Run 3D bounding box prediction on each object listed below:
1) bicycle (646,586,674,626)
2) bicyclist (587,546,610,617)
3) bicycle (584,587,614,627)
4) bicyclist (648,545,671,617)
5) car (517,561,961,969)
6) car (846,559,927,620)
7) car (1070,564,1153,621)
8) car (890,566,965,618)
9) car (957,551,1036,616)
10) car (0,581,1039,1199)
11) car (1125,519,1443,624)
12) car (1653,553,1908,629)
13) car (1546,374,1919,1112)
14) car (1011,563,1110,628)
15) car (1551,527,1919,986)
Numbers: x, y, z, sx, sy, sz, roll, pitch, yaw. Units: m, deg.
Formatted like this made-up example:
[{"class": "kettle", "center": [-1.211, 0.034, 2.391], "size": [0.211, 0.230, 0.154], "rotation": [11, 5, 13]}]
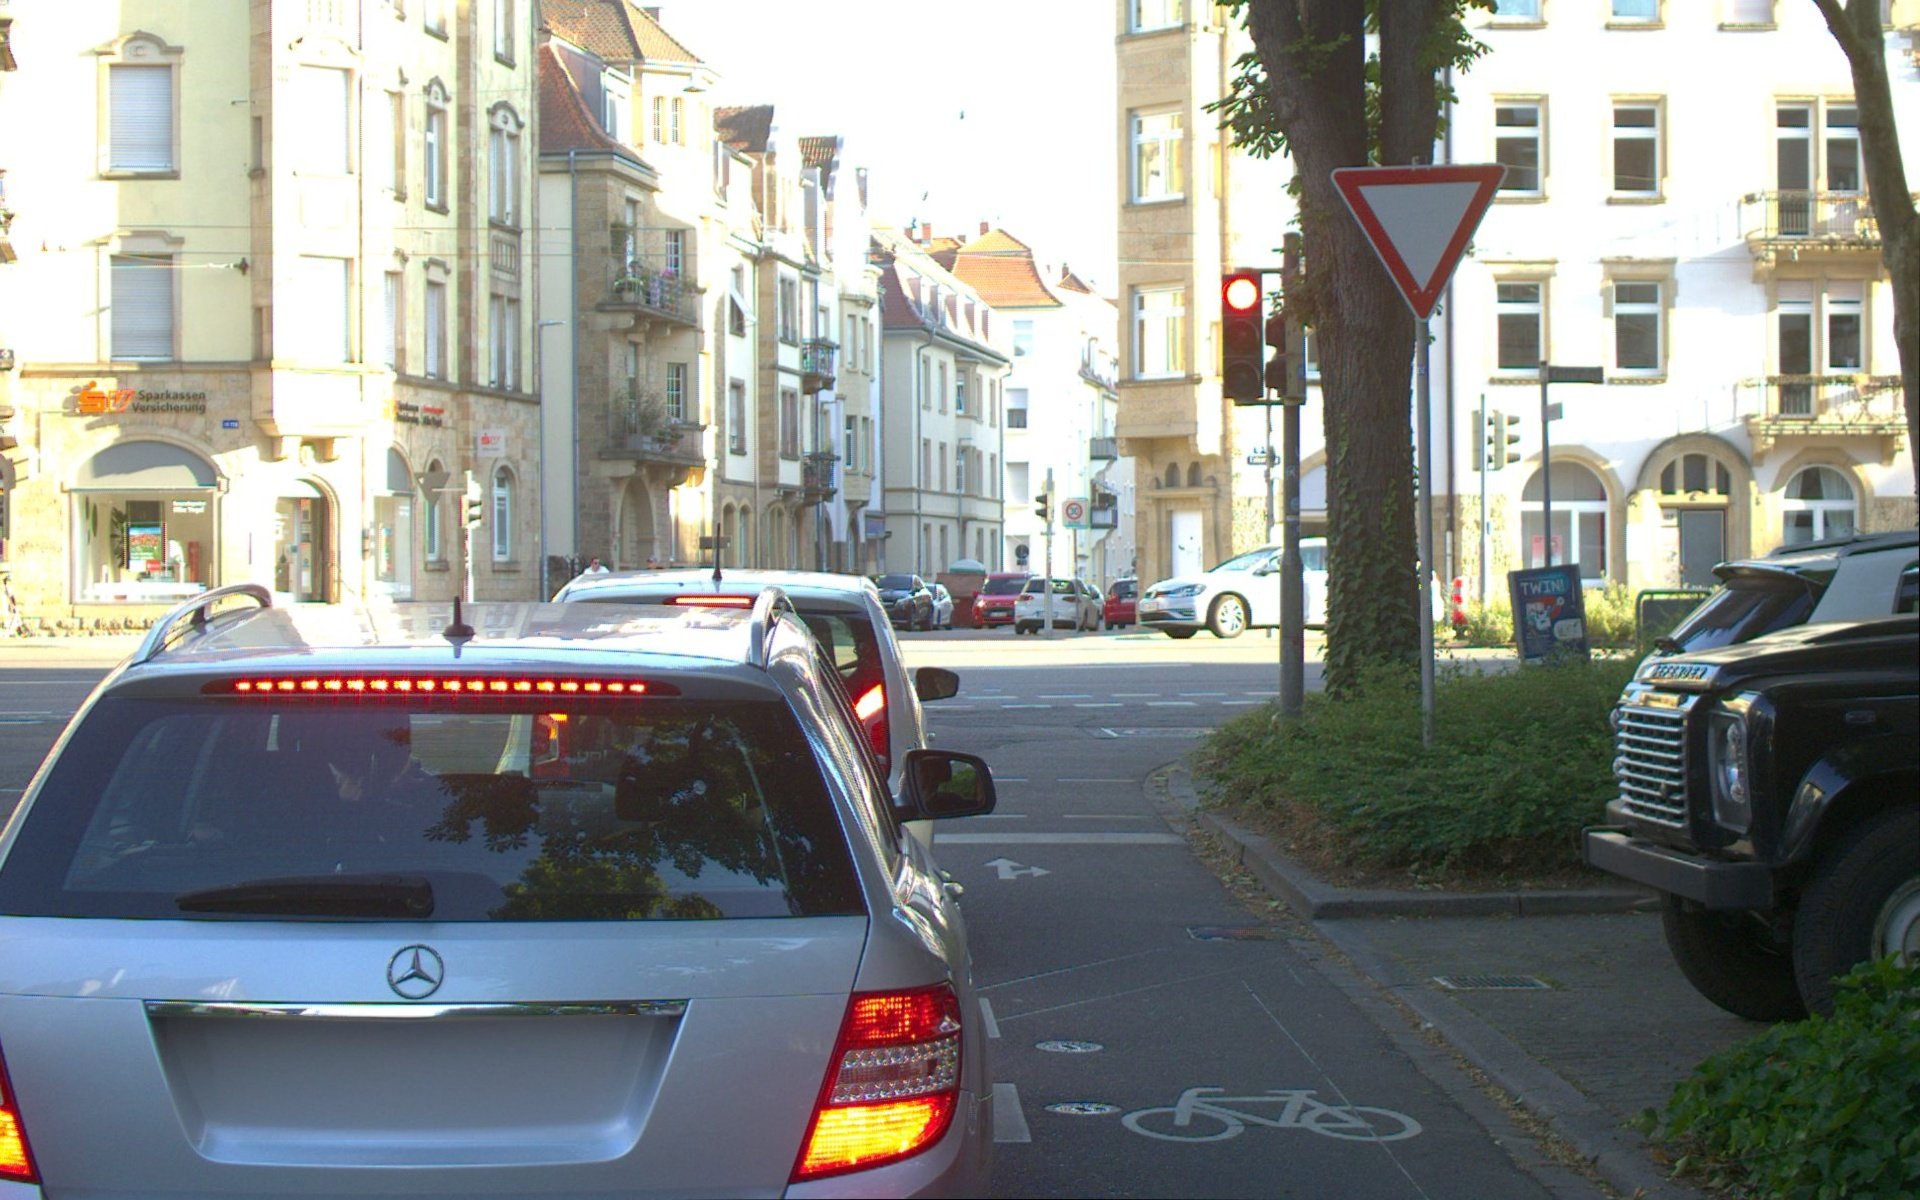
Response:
[{"class": "bicycle", "center": [-6.405, 0.129, 73.374], "size": [0.568, 0.832, 1.566], "rotation": [0, 1, -4]}, {"class": "bicyclist", "center": [-7.711, -0.403, 73.367], "size": [0.466, 1.509, 0.655], "rotation": [0, 1, -4]}, {"class": "bicycle", "center": [-7.721, 0.143, 73.506], "size": [0.568, 0.832, 1.566], "rotation": [0, 1, -4]}, {"class": "bicyclist", "center": [-6.417, -0.413, 73.523], "size": [0.466, 1.516, 0.694], "rotation": [0, 1, -4]}, {"class": "car", "center": [-0.834, 0.555, 13.742], "size": [1.533, 1.386, 3.600], "rotation": [0, 1, -2]}, {"class": "car", "center": [-2.159, -0.306, 102.431], "size": [1.651, 1.777, 3.861], "rotation": [0, 0, 11]}, {"class": "car", "center": [4.526, -0.230, 102.083], "size": [1.722, 1.473, 3.998], "rotation": [-4, 1, 12]}, {"class": "car", "center": [-0.998, -0.256, 108.728], "size": [1.651, 1.598, 3.861], "rotation": [0, 0, 11]}, {"class": "car", "center": [1.141, -0.528, 105.511], "size": [1.938, 1.952, 4.149], "rotation": [0, 1, 8]}, {"class": "car", "center": [-0.842, 0.709, 6.476], "size": [1.690, 1.424, 3.493], "rotation": [1, 1, -3]}, {"class": "car", "center": [4.754, -0.443, 50.515], "size": [4.284, 1.457, 1.787], "rotation": [-1, 2, -18]}, {"class": "car", "center": [11.910, -0.137, 49.984], "size": [3.364, 1.065, 1.380], "rotation": [0, 1, -1]}, {"class": "car", "center": [4.191, 0.292, 10.179], "size": [4.490, 1.949, 1.793], "rotation": [-2, 1, -3]}, {"class": "car", "center": [2.534, -0.127, 85.882], "size": [1.722, 1.473, 3.998], "rotation": [-2, 1, 12]}, {"class": "car", "center": [4.204, 0.502, 13.067], "size": [3.480, 1.580, 1.711], "rotation": [-2, 1, -6]}]
